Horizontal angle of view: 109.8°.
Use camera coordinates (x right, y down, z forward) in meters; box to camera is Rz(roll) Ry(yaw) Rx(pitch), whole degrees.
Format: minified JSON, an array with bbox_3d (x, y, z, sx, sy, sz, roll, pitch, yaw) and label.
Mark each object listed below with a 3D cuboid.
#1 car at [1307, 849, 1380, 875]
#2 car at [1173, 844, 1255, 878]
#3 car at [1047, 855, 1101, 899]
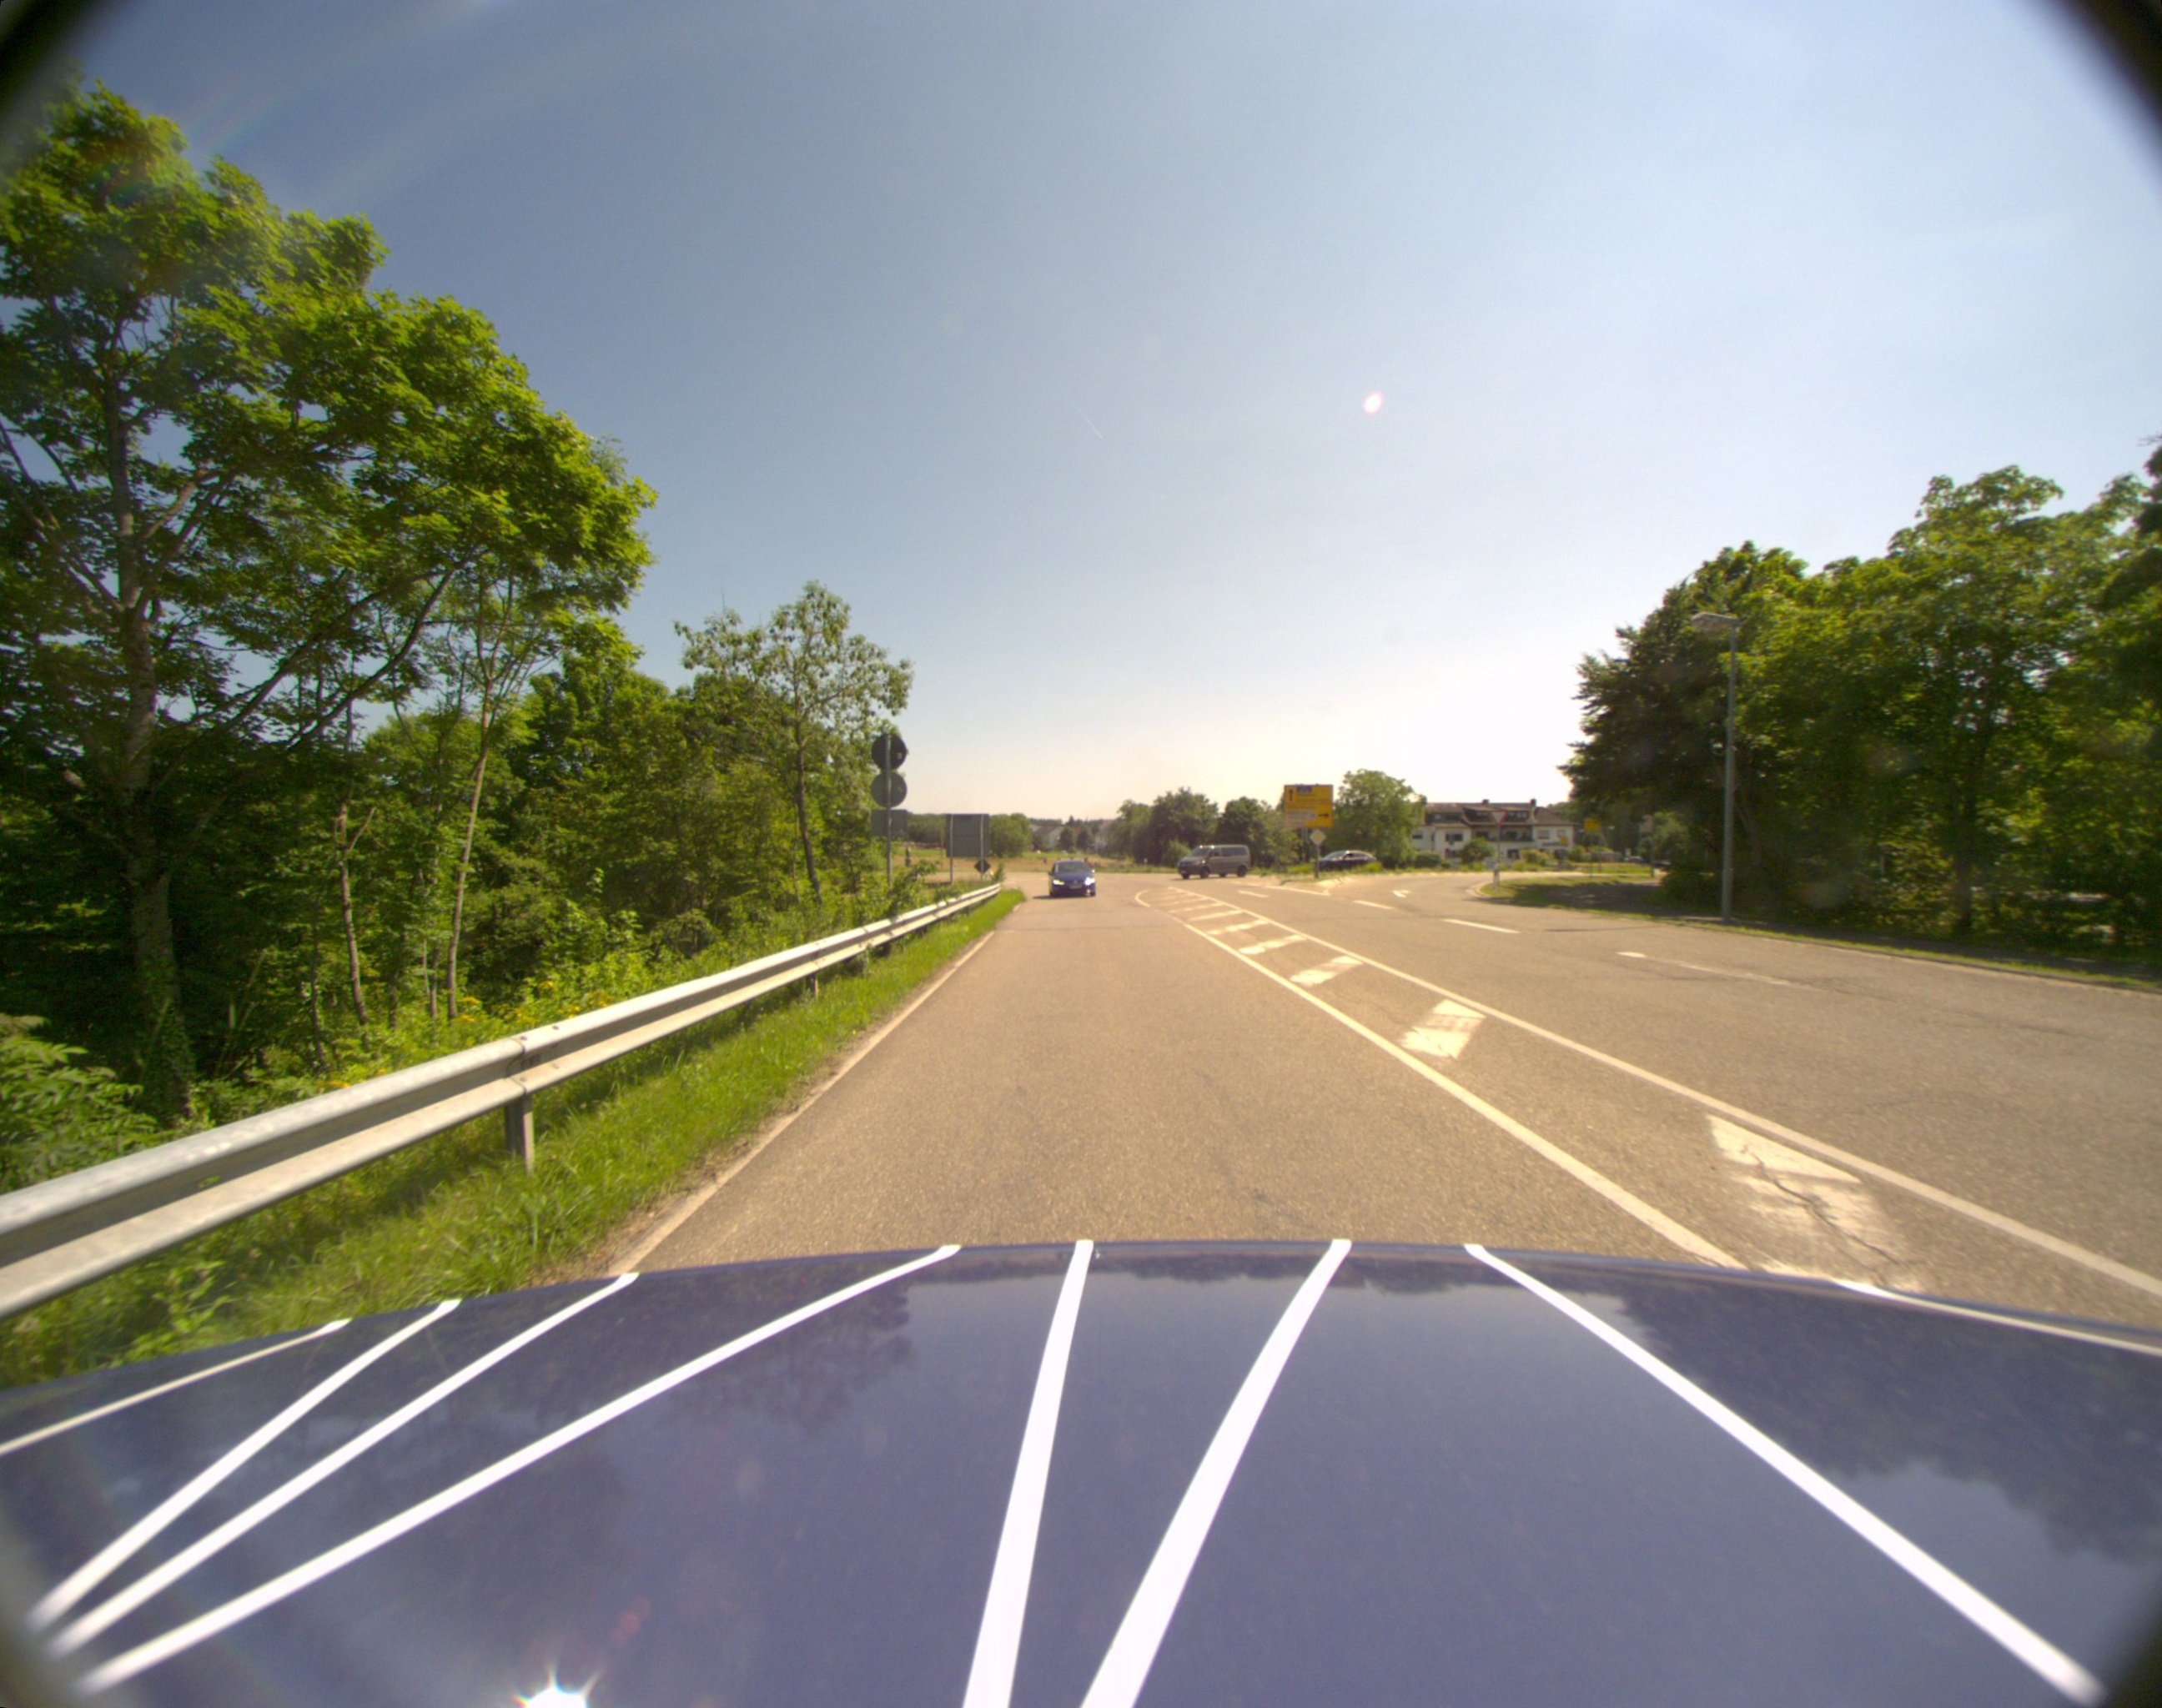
[{"bbox_3d":[17.344,0.500,50.193,4.380,1.636,1.746,-1,0,-19],"label":"car"},{"bbox_3d":[8.118,0.407,46.384,4.773,2.002,1.995,-1,0,-31],"label":"car"},{"bbox_3d":[-0.363,0.898,32.326,1.829,1.592,4.193,-4,1,-6],"label":"car"}]
